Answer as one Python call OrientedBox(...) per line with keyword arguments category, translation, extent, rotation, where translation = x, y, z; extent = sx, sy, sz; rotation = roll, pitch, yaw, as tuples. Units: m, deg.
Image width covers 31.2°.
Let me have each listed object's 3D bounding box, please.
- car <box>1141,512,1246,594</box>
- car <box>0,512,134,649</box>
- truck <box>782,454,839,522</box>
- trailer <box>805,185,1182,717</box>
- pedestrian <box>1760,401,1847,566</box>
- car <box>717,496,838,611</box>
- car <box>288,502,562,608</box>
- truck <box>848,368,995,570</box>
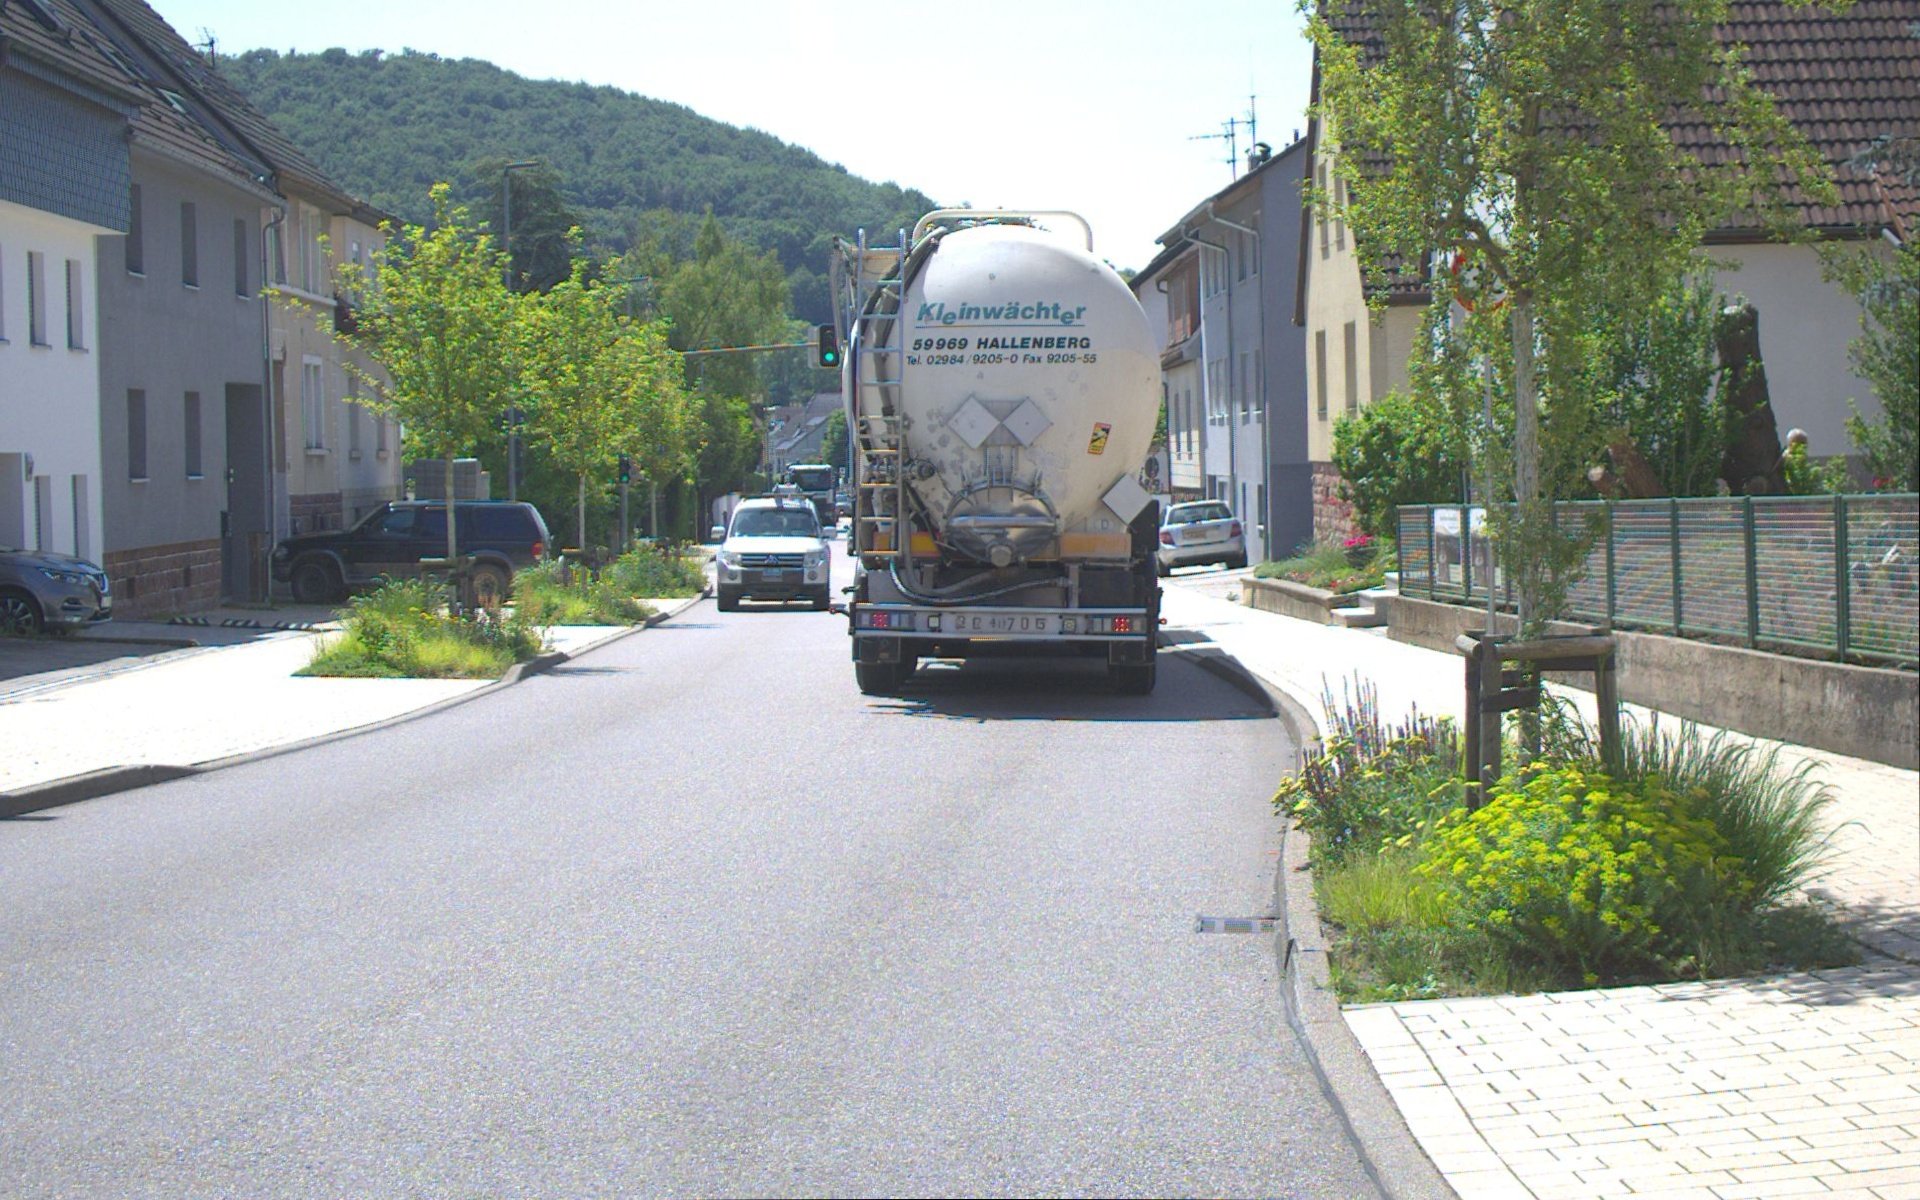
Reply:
OrientedBox(category="car", translation=(4.659, -0.965, 68.975), extent=(1.791, 1.536, 4.520), rotation=(-2, 1, 1))
OrientedBox(category="car", translation=(-11.735, -0.247, 39.623), extent=(3.987, 1.540, 1.832), rotation=(0, 1, 0))
OrientedBox(category="truck", translation=(-7.687, -5.743, 177.150), extent=(2.728, 3.360, 8.635), rotation=(1, 1, -1))
OrientedBox(category="trailer", translation=(0.357, -1.232, 31.218), extent=(2.796, 3.987, 10.324), rotation=(1, 1, 1))
OrientedBox(category="pedestrian", translation=(8.532, -1.178, 34.788), extent=(0.604, 1.610, 0.552), rotation=(-5, 1, -1))
OrientedBox(category="car", translation=(-3.048, -0.805, 58.236), extent=(1.889, 1.854, 4.578), rotation=(0, 1, -1))
OrientedBox(category="car", translation=(-9.039, -0.777, 58.331), extent=(4.394, 1.744, 1.878), rotation=(0, 1, -2))
OrientedBox(category="truck", translation=(-1.084, -3.124, 86.535), extent=(2.846, 4.662, 11.341), rotation=(1, 0, -5))
